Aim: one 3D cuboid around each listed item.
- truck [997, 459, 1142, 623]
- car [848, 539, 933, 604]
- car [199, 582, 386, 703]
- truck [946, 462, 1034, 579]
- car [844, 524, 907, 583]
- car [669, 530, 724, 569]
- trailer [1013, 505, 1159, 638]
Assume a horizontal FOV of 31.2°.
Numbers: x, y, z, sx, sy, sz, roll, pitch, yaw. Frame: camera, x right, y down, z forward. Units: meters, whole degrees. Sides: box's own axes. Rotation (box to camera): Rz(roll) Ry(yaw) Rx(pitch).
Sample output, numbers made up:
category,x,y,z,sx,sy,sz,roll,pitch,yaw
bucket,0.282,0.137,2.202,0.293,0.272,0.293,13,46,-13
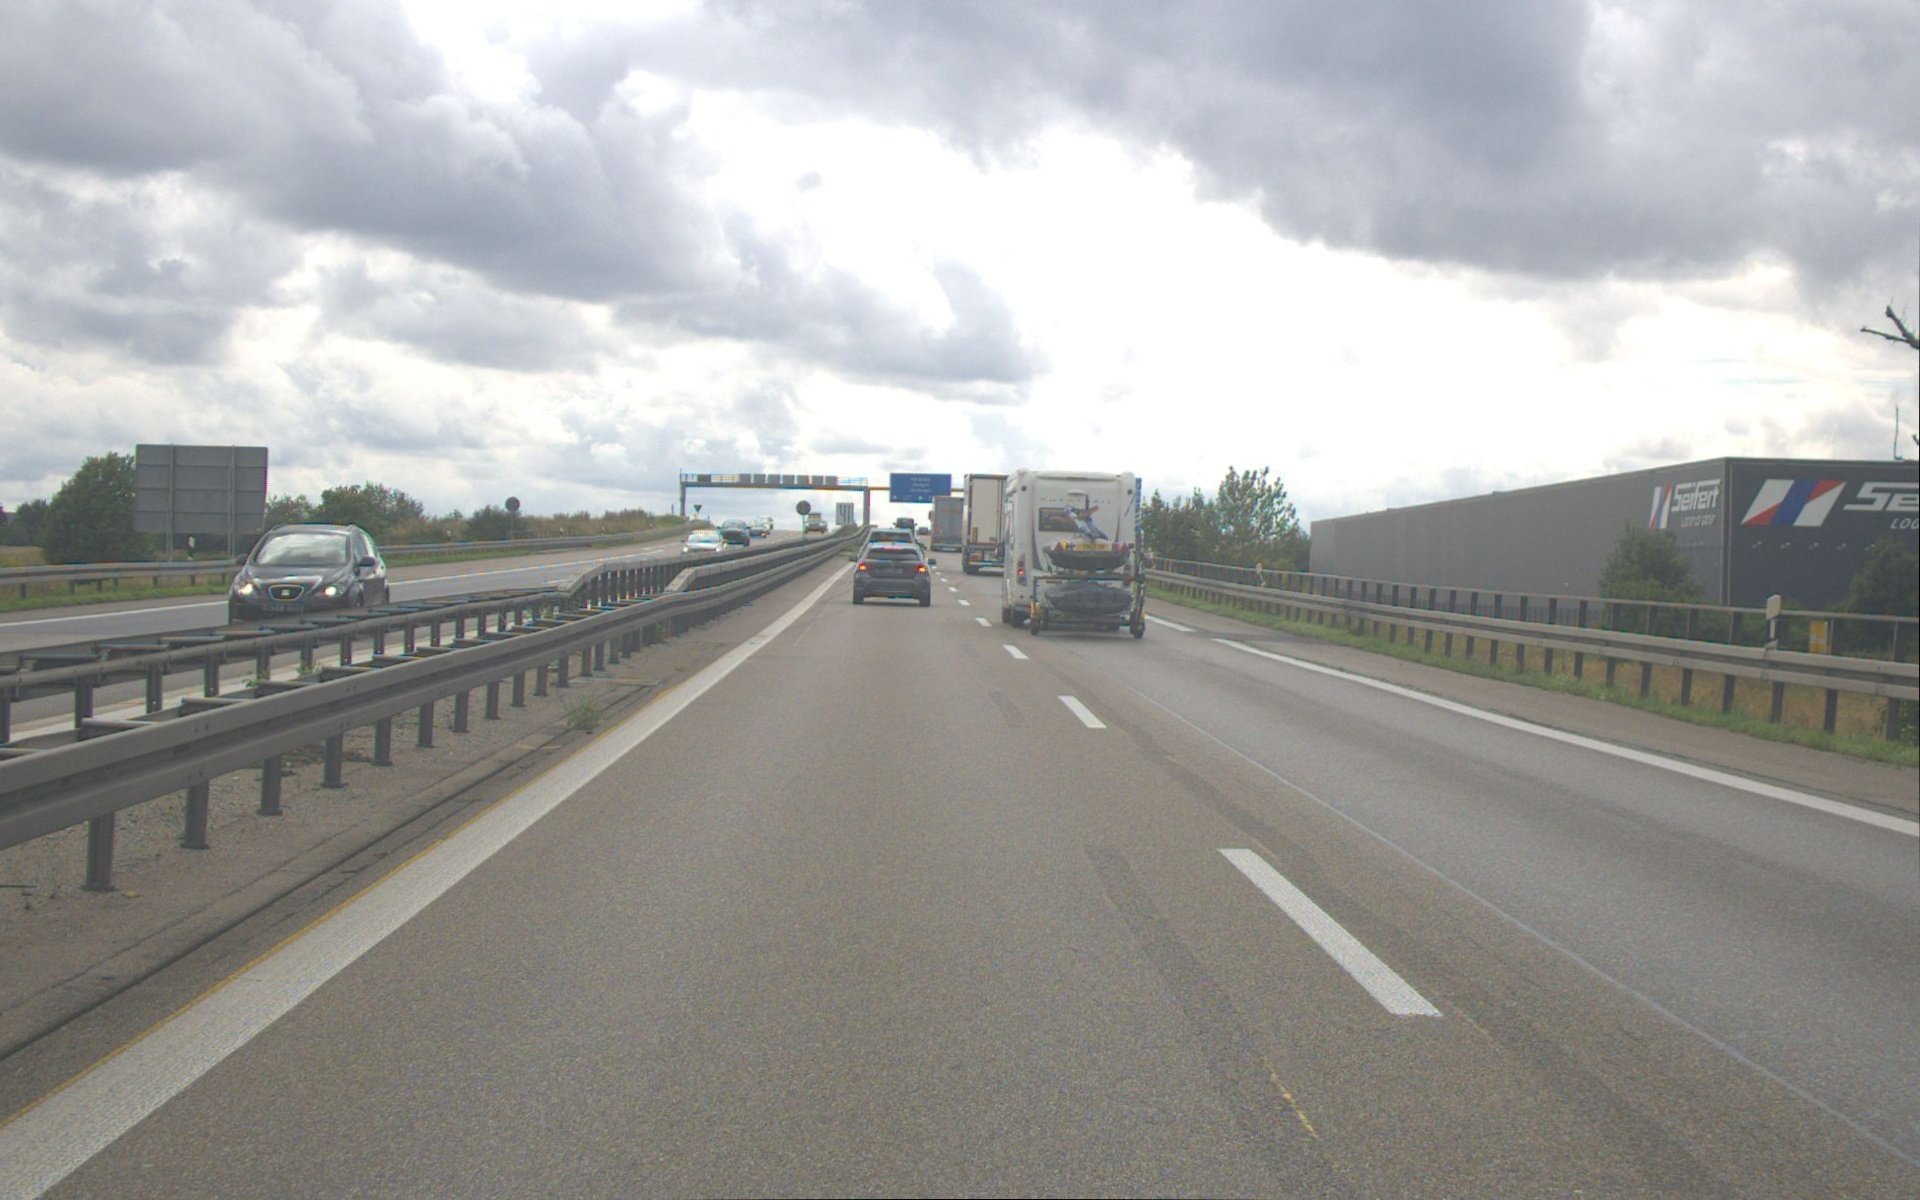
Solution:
category,x,y,z,sx,sy,sz,roll,pitch,yaw
truck,2.015,-1.084,65.392,2.482,2.940,5.815,1,0,0
car,-1.590,-0.652,80.038,1.746,1.448,4.000,1,0,2
car,-9.250,0.560,47.919,1.841,1.571,4.000,1,0,-1
truck,1.162,-3.135,138.743,3.339,4.519,8.017,1,0,-1
car,-2.652,-1.441,108.166,1.892,1.766,3.921,1,0,-1
car,-10.767,-2.046,140.789,1.906,1.508,4.730,1,0,-1
trailer,2.115,-0.477,58.243,2.338,2.129,4.000,1,0,2
